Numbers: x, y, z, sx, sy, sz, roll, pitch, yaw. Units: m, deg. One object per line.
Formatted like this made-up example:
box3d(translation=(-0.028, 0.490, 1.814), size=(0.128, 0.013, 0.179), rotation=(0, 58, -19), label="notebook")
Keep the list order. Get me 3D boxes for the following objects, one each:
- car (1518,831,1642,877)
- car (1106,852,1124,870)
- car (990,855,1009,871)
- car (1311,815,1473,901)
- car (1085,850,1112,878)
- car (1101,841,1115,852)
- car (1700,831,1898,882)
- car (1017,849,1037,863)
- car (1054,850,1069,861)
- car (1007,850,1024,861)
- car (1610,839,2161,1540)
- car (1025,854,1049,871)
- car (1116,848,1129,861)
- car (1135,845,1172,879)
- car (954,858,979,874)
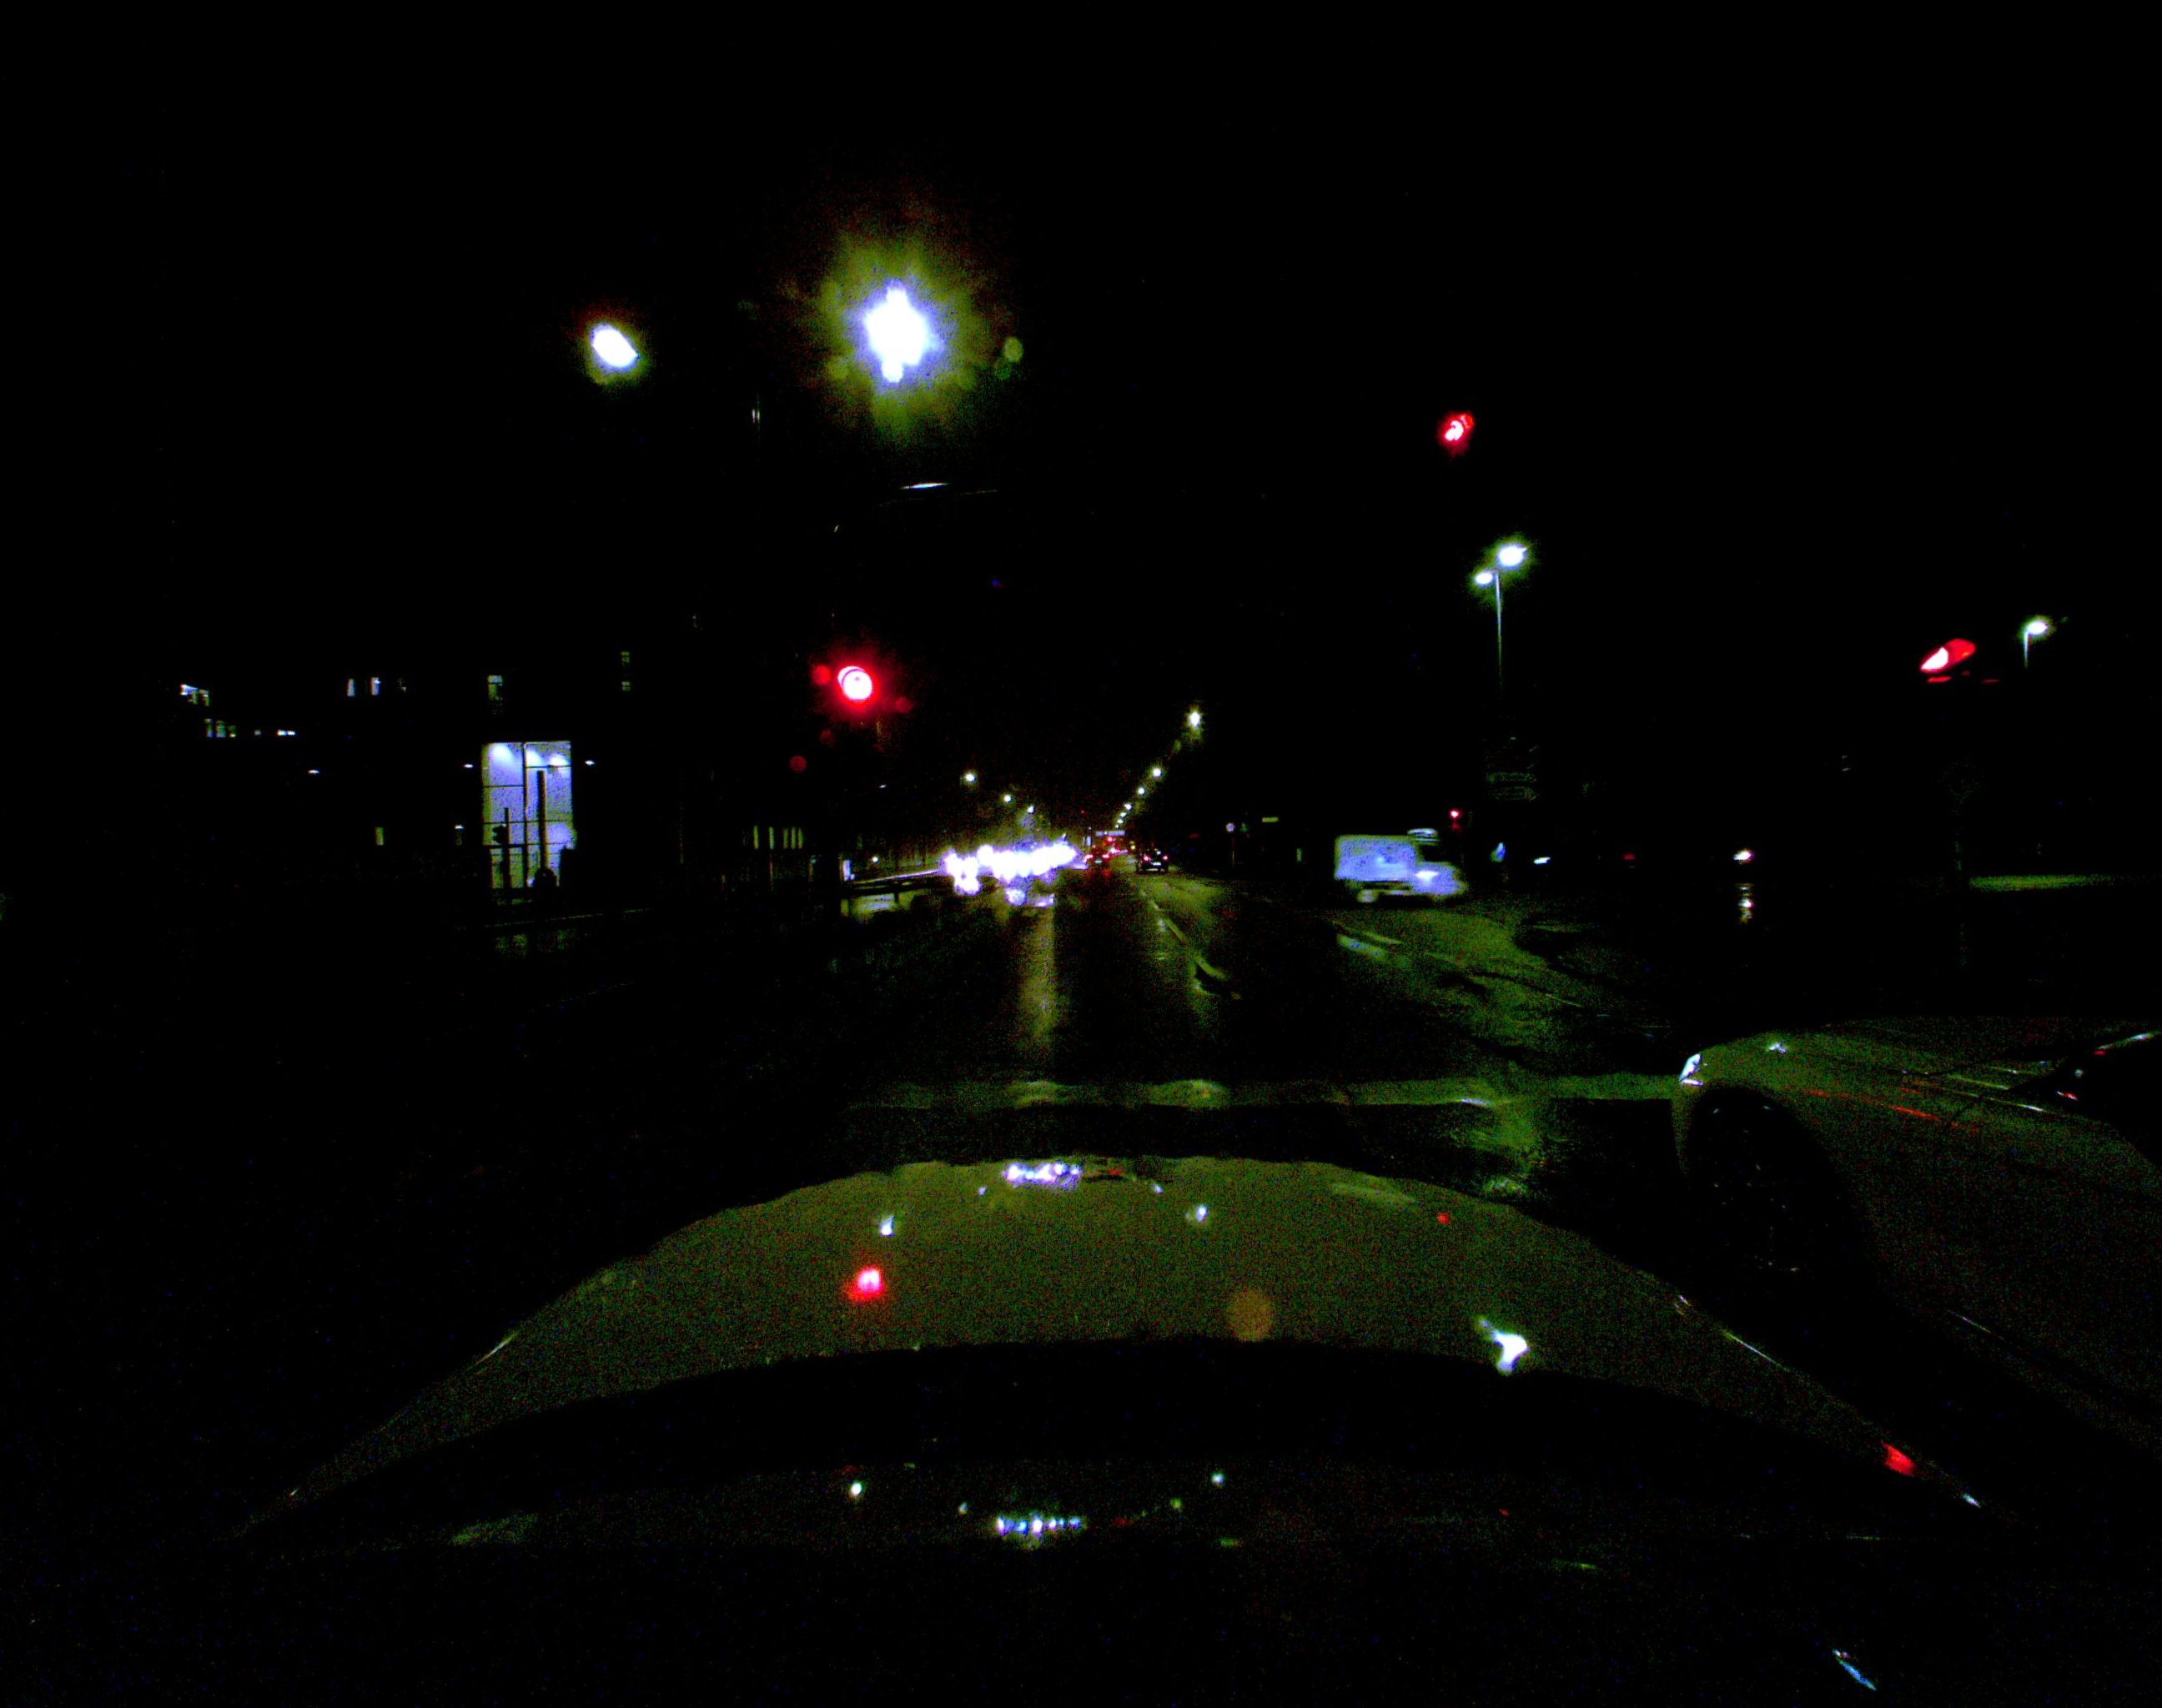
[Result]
box3d(translation=(20.571, 0.020, 33.750), size=(3.961, 1.780, 1.914), rotation=(-1, -1, 11), label="car")
box3d(translation=(3.988, 0.817, 95.986), size=(2.030, 2.082, 4.309), rotation=(-1, -1, 2), label="car")
box3d(translation=(-9.504, 1.031, 95.201), size=(1.744, 1.709, 4.498), rotation=(-3, -1, 0), label="car")
box3d(translation=(7.726, 0.127, 20.509), size=(3.534, 2.014, 1.709), rotation=(-1, -1, 10), label="car")
box3d(translation=(1.357, 0.744, 61.717), size=(1.986, 2.014, 4.001), rotation=(-1, -1, 2), label="car")
box3d(translation=(5.392, -1.497, 164.167), size=(2.434, 2.194, 5.076), rotation=(-1, -1, -1), label="car")
box3d(translation=(24.277, 0.093, 27.712), size=(4.823, 1.590, 1.857), rotation=(-1, -1, 8), label="car")
box3d(translation=(-6.460, 0.258, 98.074), size=(1.878, 1.552, 4.435), rotation=(-1, -1, 2), label="car")
box3d(translation=(-2.855, 0.210, 120.503), size=(1.878, 1.552, 4.435), rotation=(-1, -1, 2), label="car")
box3d(translation=(-9.126, 0.221, 113.335), size=(1.878, 1.552, 4.435), rotation=(-1, -1, 2), label="car")
box3d(translation=(3.124, 0.696, 1.285), size=(1.714, 1.446, 4.383), rotation=(-3, -1, 1), label="car")
box3d(translation=(-4.236, 0.840, 79.507), size=(1.987, 1.610, 4.970), rotation=(-1, -1, 1), label="car")
box3d(translation=(6.608, 0.140, 129.835), size=(2.029, 2.014, 4.311), rotation=(-1, -1, 4), label="car")
box3d(translation=(4.848, 0.543, 54.956), size=(2.200, 2.215, 3.644), rotation=(-1, -1, 2), label="car")
box3d(translation=(-11.724, 1.252, 83.485), size=(1.794, 1.564, 4.001), rotation=(-1, -1, 2), label="car")
